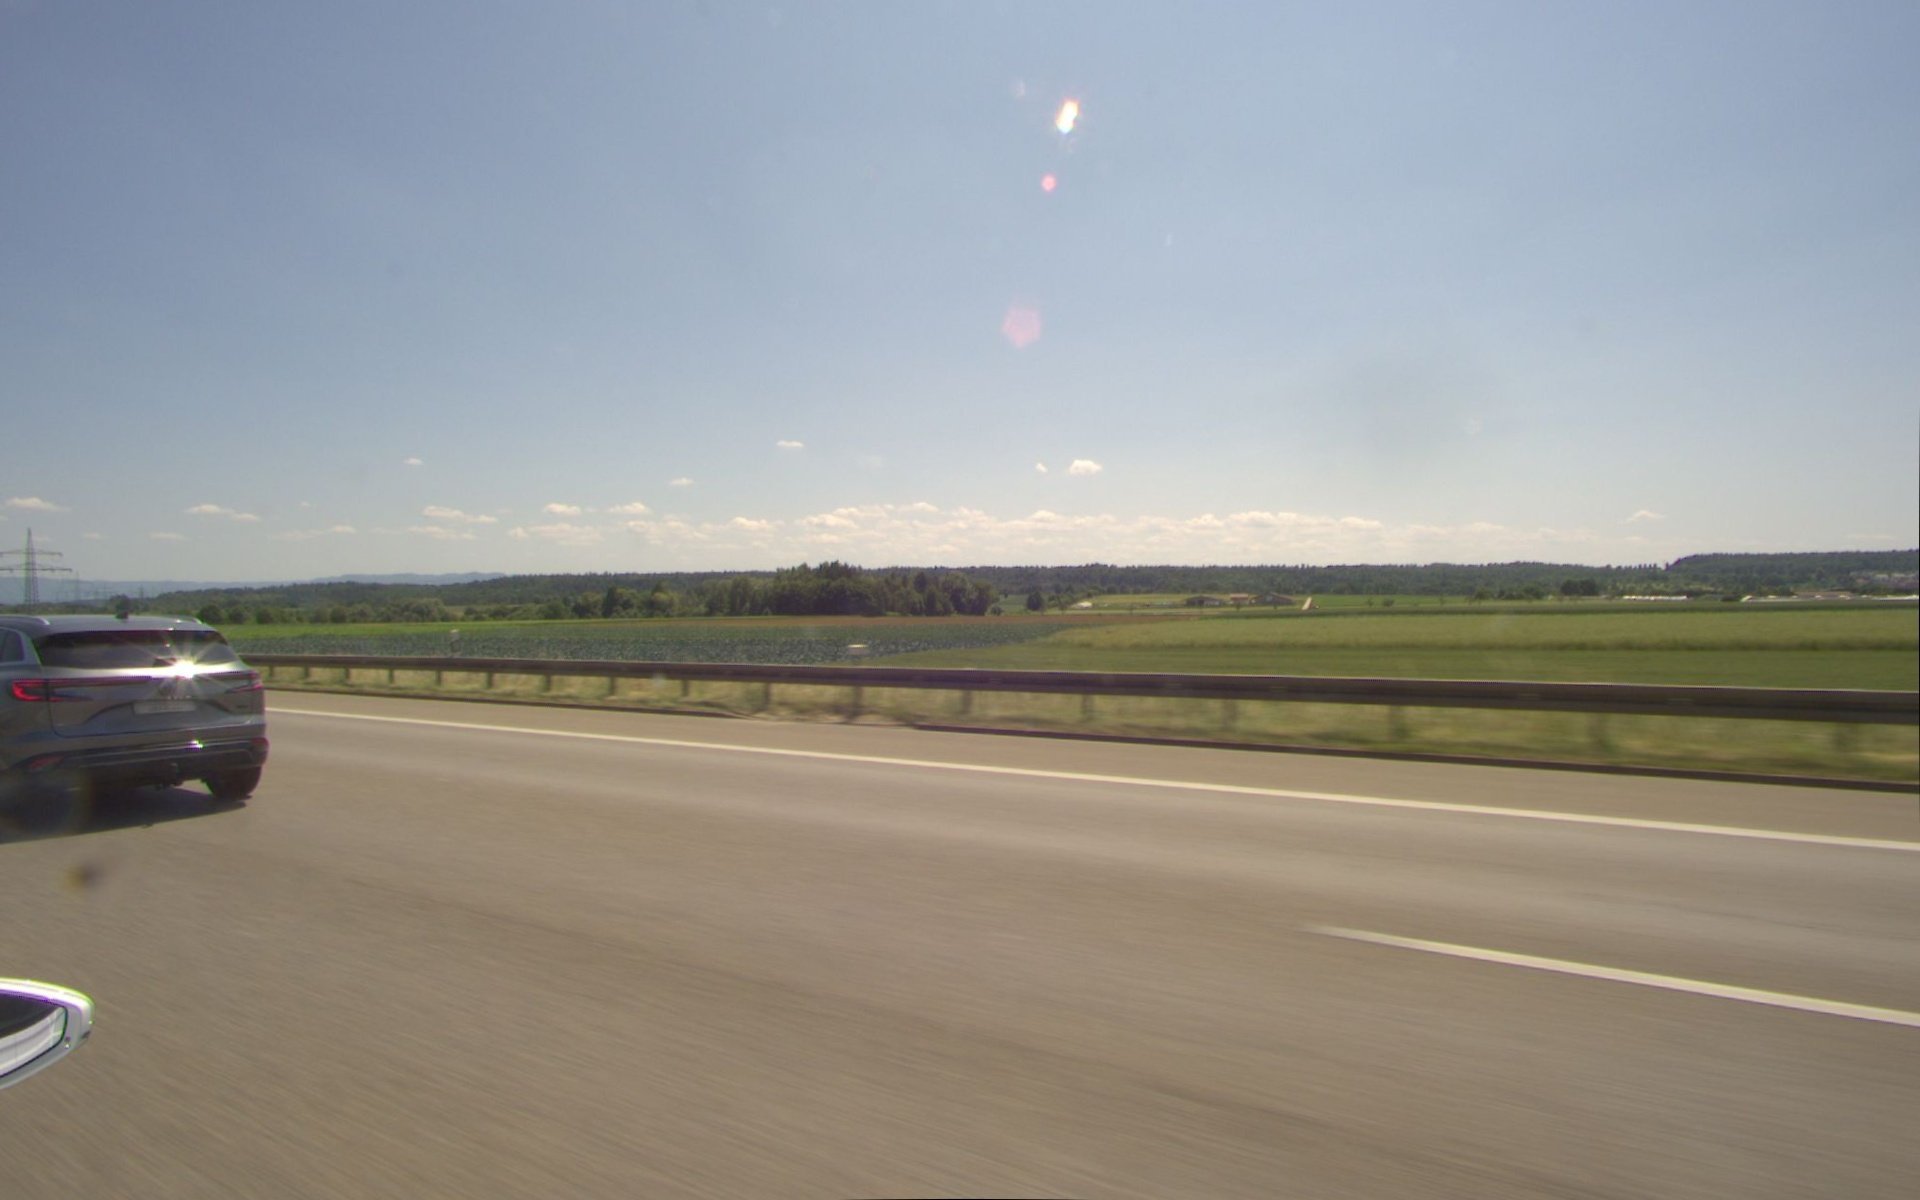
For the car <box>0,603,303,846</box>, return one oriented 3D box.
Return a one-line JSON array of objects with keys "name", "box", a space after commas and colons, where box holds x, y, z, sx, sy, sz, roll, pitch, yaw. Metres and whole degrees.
[{"name": "car", "box": [-7.959, 0.904, 8.912, 4.579, 1.670, 1.847, -1, -1, 33]}]
